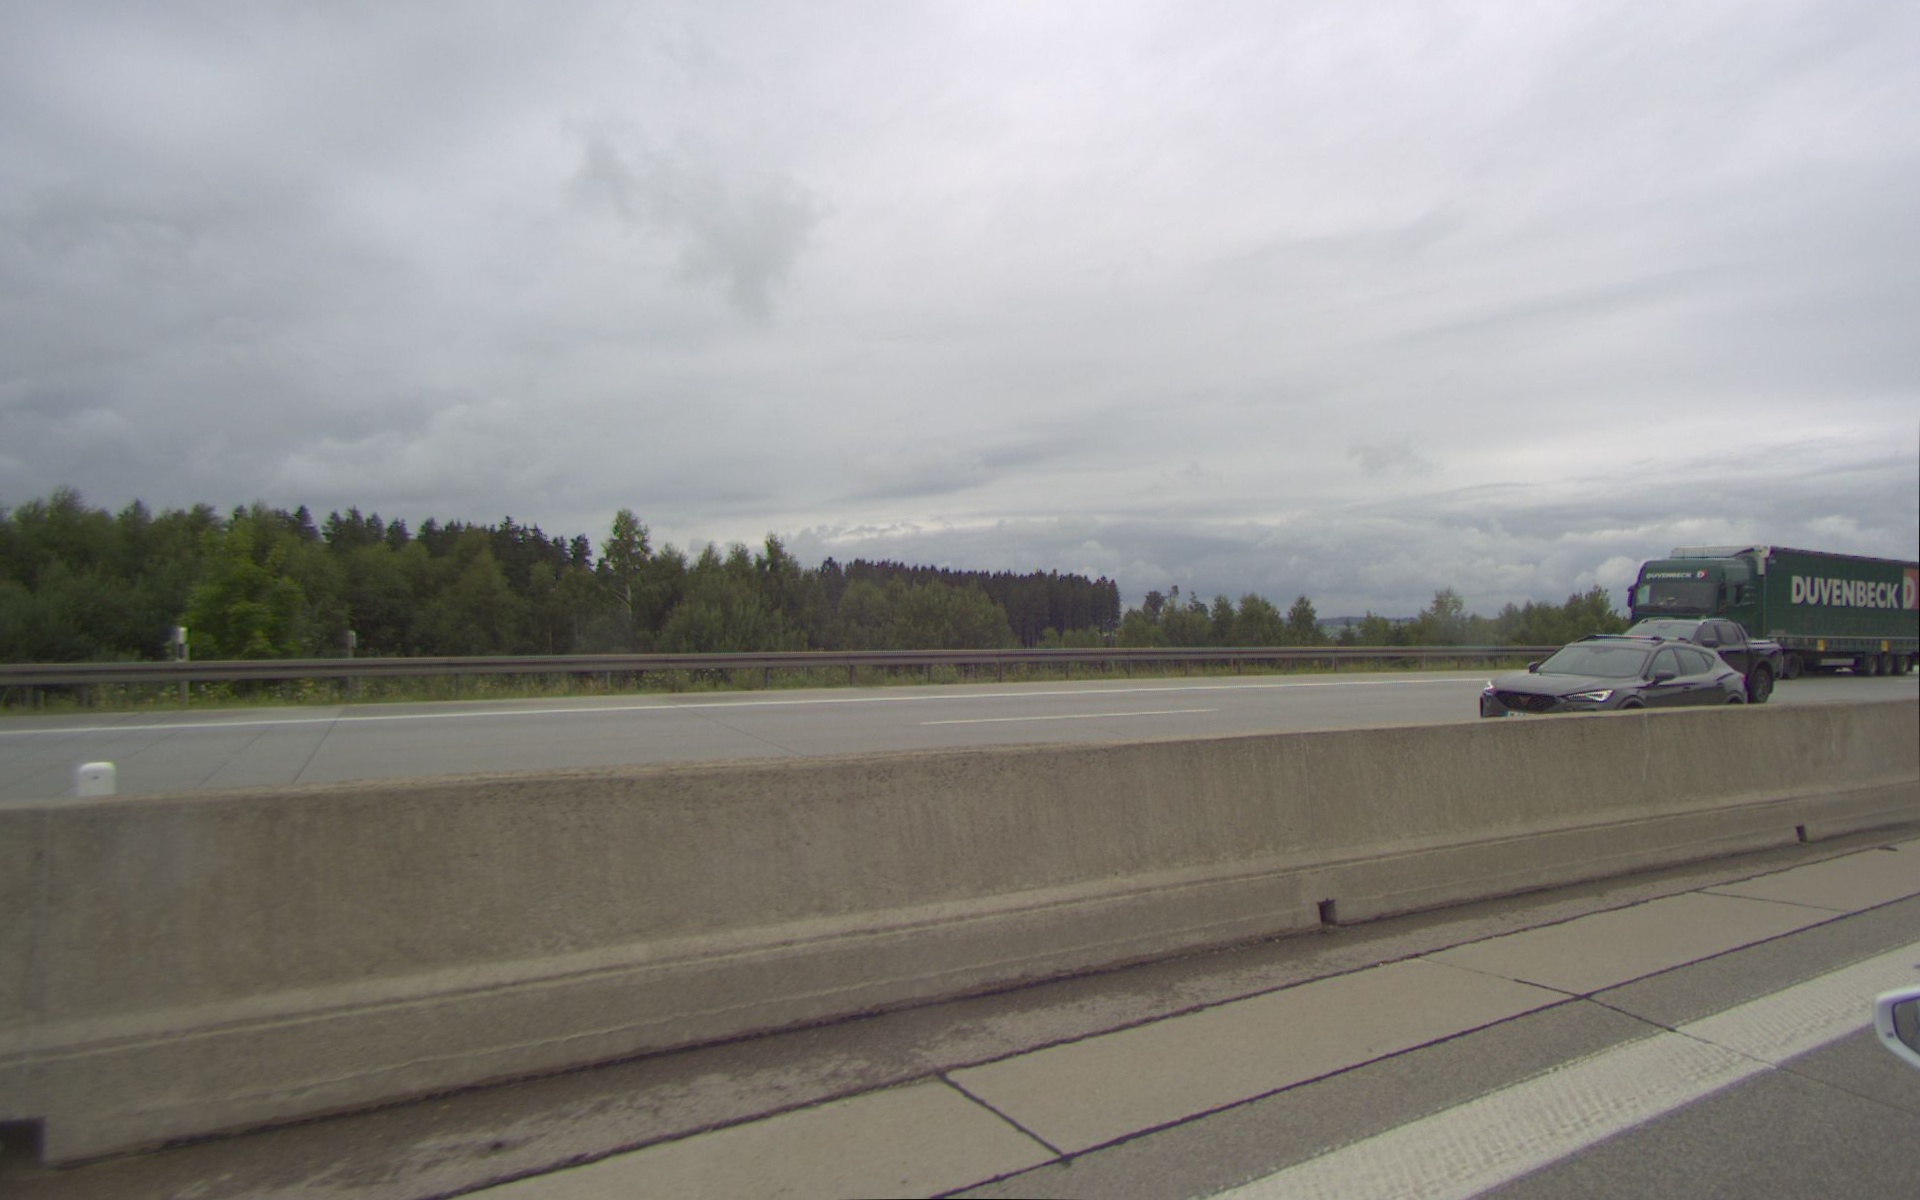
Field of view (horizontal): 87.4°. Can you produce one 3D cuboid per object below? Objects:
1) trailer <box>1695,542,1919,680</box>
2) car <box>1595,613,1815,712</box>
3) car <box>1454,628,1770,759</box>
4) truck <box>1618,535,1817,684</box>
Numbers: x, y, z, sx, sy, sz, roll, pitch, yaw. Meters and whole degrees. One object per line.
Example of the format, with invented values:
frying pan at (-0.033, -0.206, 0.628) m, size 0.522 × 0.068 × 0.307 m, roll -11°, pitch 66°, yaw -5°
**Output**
trailer at (30.800, 0.351, 35.695) m, size 12.018 × 4.339 × 2.753 m, roll 0°, pitch 1°, yaw -29°
car at (16.898, 1.342, 22.721) m, size 5.265 × 2.000 × 1.985 m, roll 0°, pitch -2°, yaw -29°
car at (9.224, 1.204, 14.154) m, size 4.346 × 1.539 × 1.984 m, roll 0°, pitch -2°, yaw -31°
truck at (24.046, 0.247, 31.863) m, size 5.974 × 4.320 × 2.777 m, roll 0°, pitch 1°, yaw -29°
